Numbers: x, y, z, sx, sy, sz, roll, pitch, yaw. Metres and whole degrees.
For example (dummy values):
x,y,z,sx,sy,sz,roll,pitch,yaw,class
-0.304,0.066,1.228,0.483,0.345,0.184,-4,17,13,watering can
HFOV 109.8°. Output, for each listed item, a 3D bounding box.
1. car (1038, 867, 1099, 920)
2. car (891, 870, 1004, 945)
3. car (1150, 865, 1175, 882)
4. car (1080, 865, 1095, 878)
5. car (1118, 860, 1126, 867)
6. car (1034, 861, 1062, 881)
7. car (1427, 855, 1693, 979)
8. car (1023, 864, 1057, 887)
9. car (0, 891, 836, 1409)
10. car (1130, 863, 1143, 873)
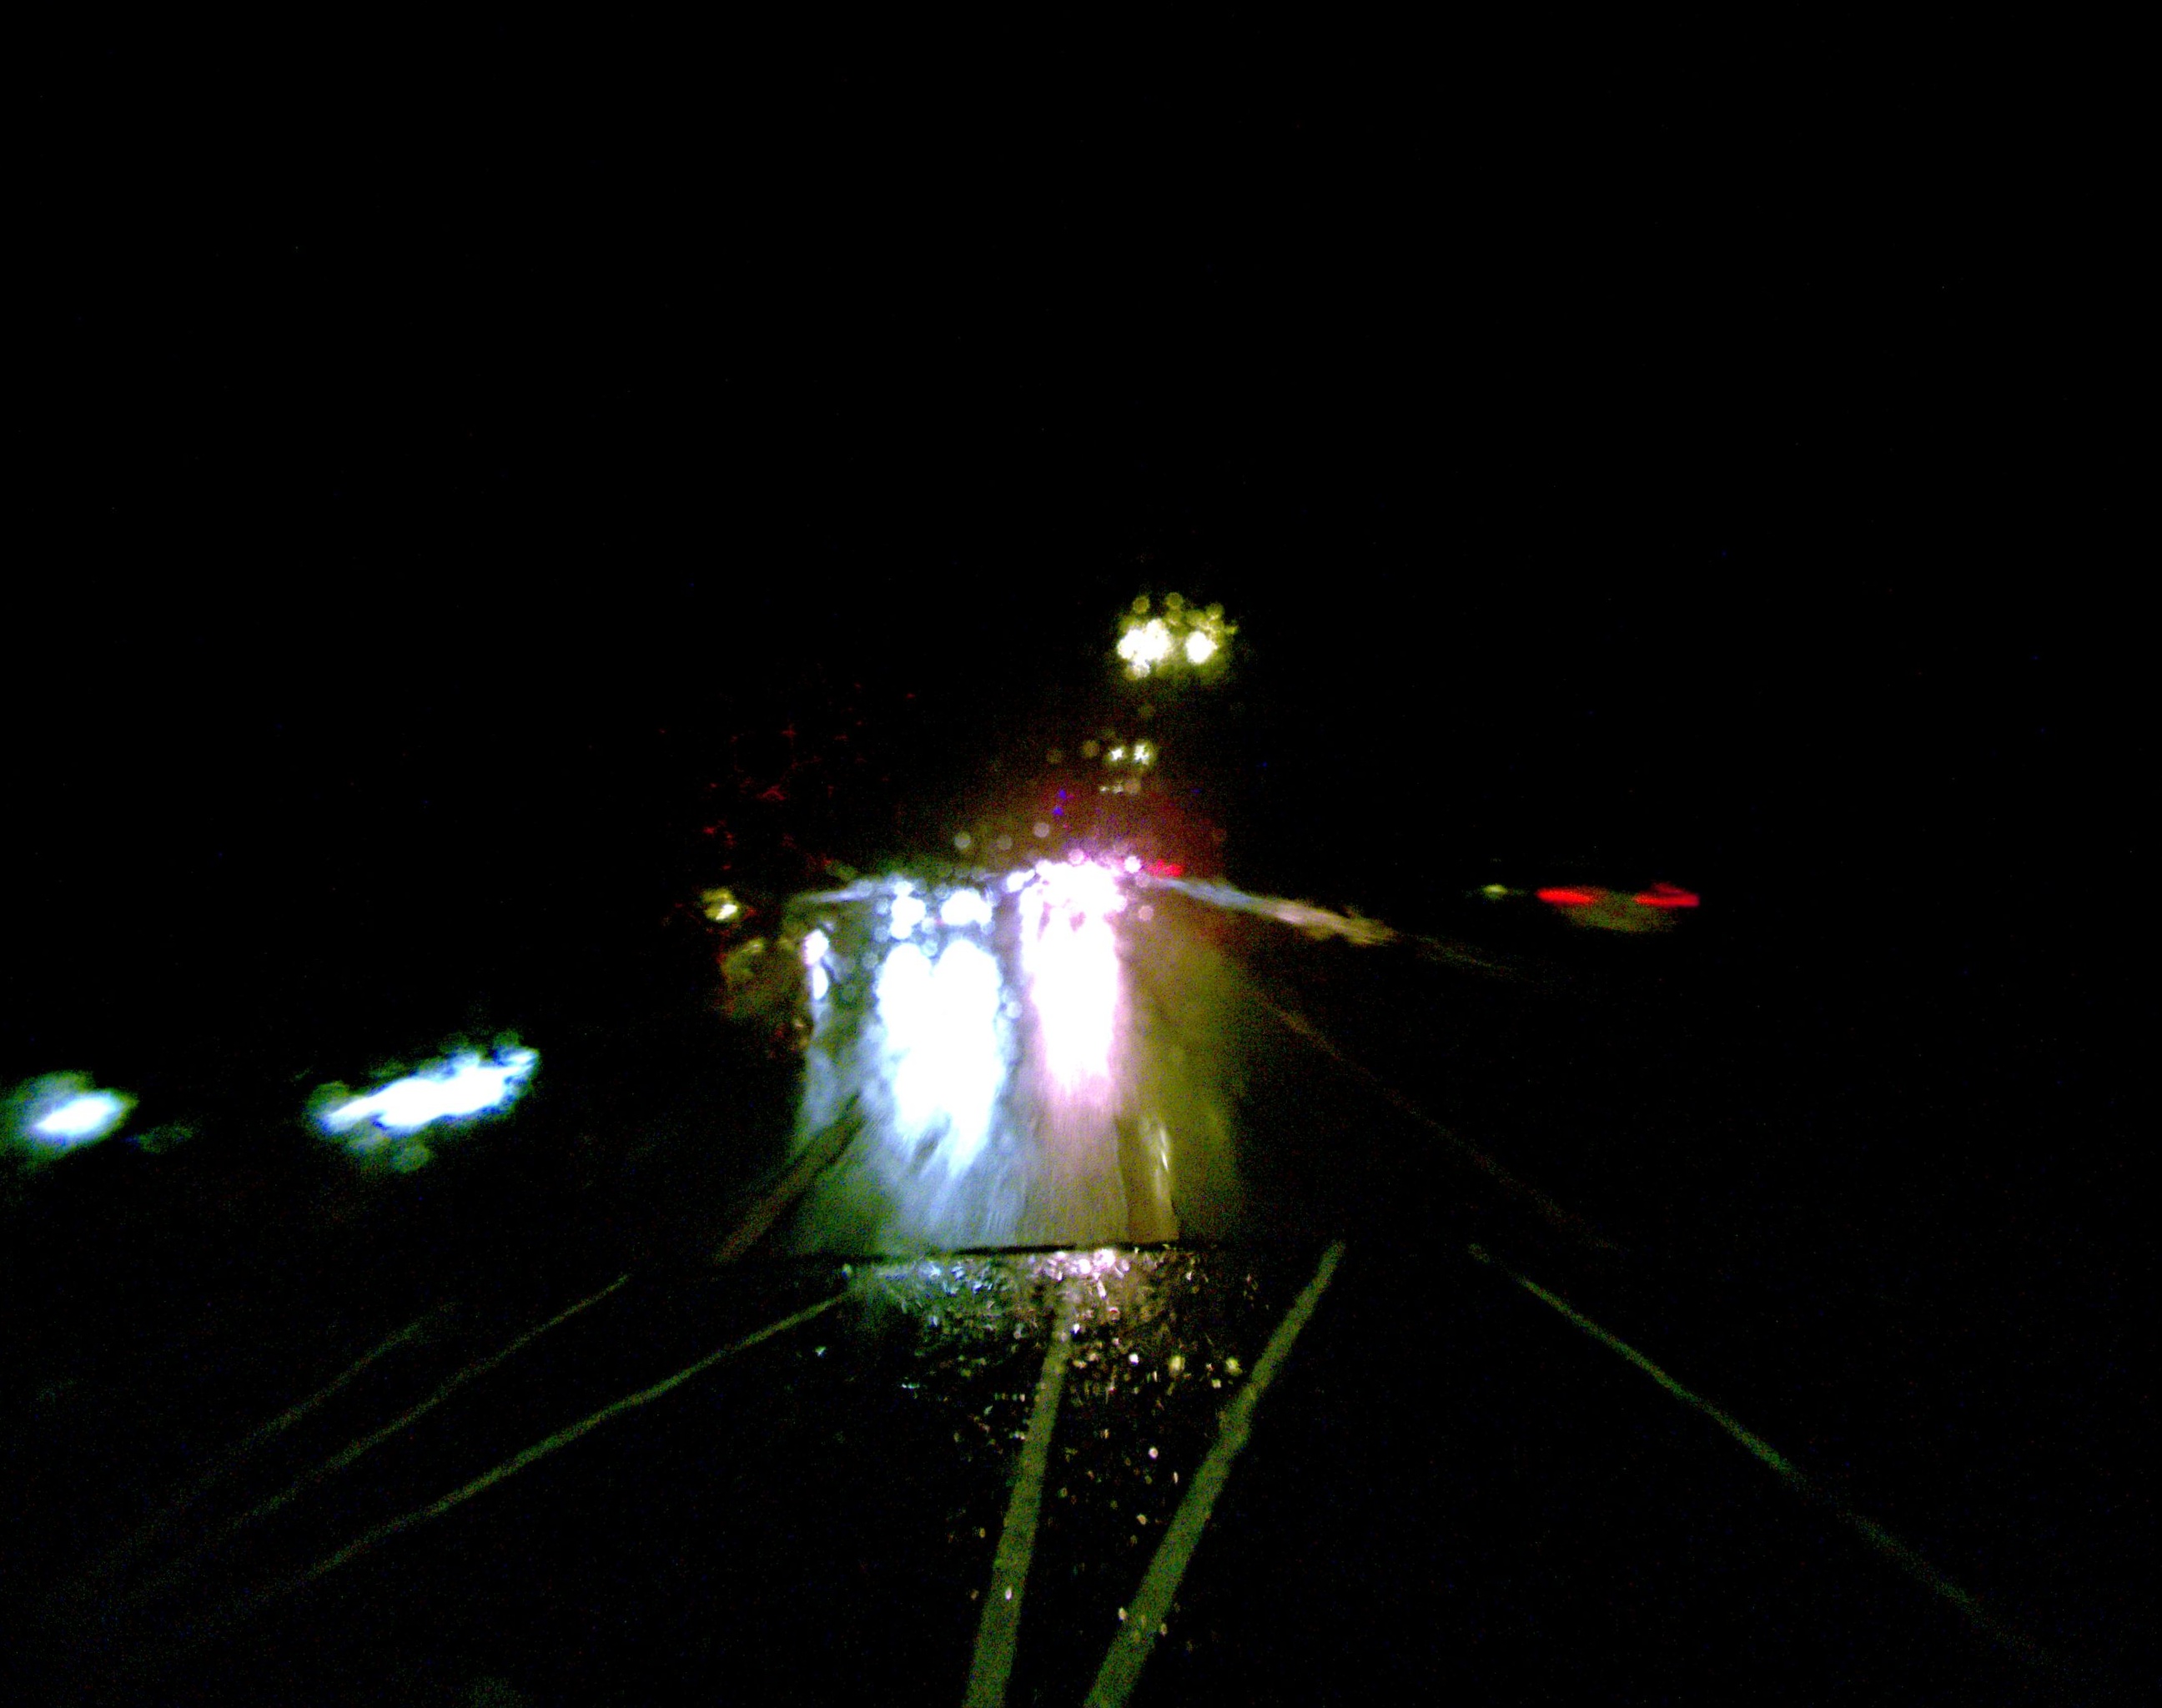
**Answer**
x,y,z,sx,sy,sz,roll,pitch,yaw,class
-0.349,1.208,24.572,1.764,1.492,4.000,-2,0,1,car
-3.056,1.178,18.357,1.826,1.476,4.568,-1,0,1,car
7.733,1.840,72.523,1.860,1.467,4.779,-1,0,0,car
0.912,2.579,111.927,1.999,1.774,3.999,-2,0,-2,car
9.315,2.216,172.634,1.756,1.543,4.010,-1,0,0,car
-2.652,1.374,62.234,1.998,1.531,4.000,-1,0,1,car
7.255,0.841,12.048,1.624,1.641,3.999,0,0,-1,car
-2.773,1.426,52.317,1.998,1.455,4.000,-1,0,1,car
-3.175,1.089,4.841,1.736,1.440,4.724,-2,0,-1,car
8.241,2.010,112.648,1.614,1.373,4.746,-1,0,0,car
